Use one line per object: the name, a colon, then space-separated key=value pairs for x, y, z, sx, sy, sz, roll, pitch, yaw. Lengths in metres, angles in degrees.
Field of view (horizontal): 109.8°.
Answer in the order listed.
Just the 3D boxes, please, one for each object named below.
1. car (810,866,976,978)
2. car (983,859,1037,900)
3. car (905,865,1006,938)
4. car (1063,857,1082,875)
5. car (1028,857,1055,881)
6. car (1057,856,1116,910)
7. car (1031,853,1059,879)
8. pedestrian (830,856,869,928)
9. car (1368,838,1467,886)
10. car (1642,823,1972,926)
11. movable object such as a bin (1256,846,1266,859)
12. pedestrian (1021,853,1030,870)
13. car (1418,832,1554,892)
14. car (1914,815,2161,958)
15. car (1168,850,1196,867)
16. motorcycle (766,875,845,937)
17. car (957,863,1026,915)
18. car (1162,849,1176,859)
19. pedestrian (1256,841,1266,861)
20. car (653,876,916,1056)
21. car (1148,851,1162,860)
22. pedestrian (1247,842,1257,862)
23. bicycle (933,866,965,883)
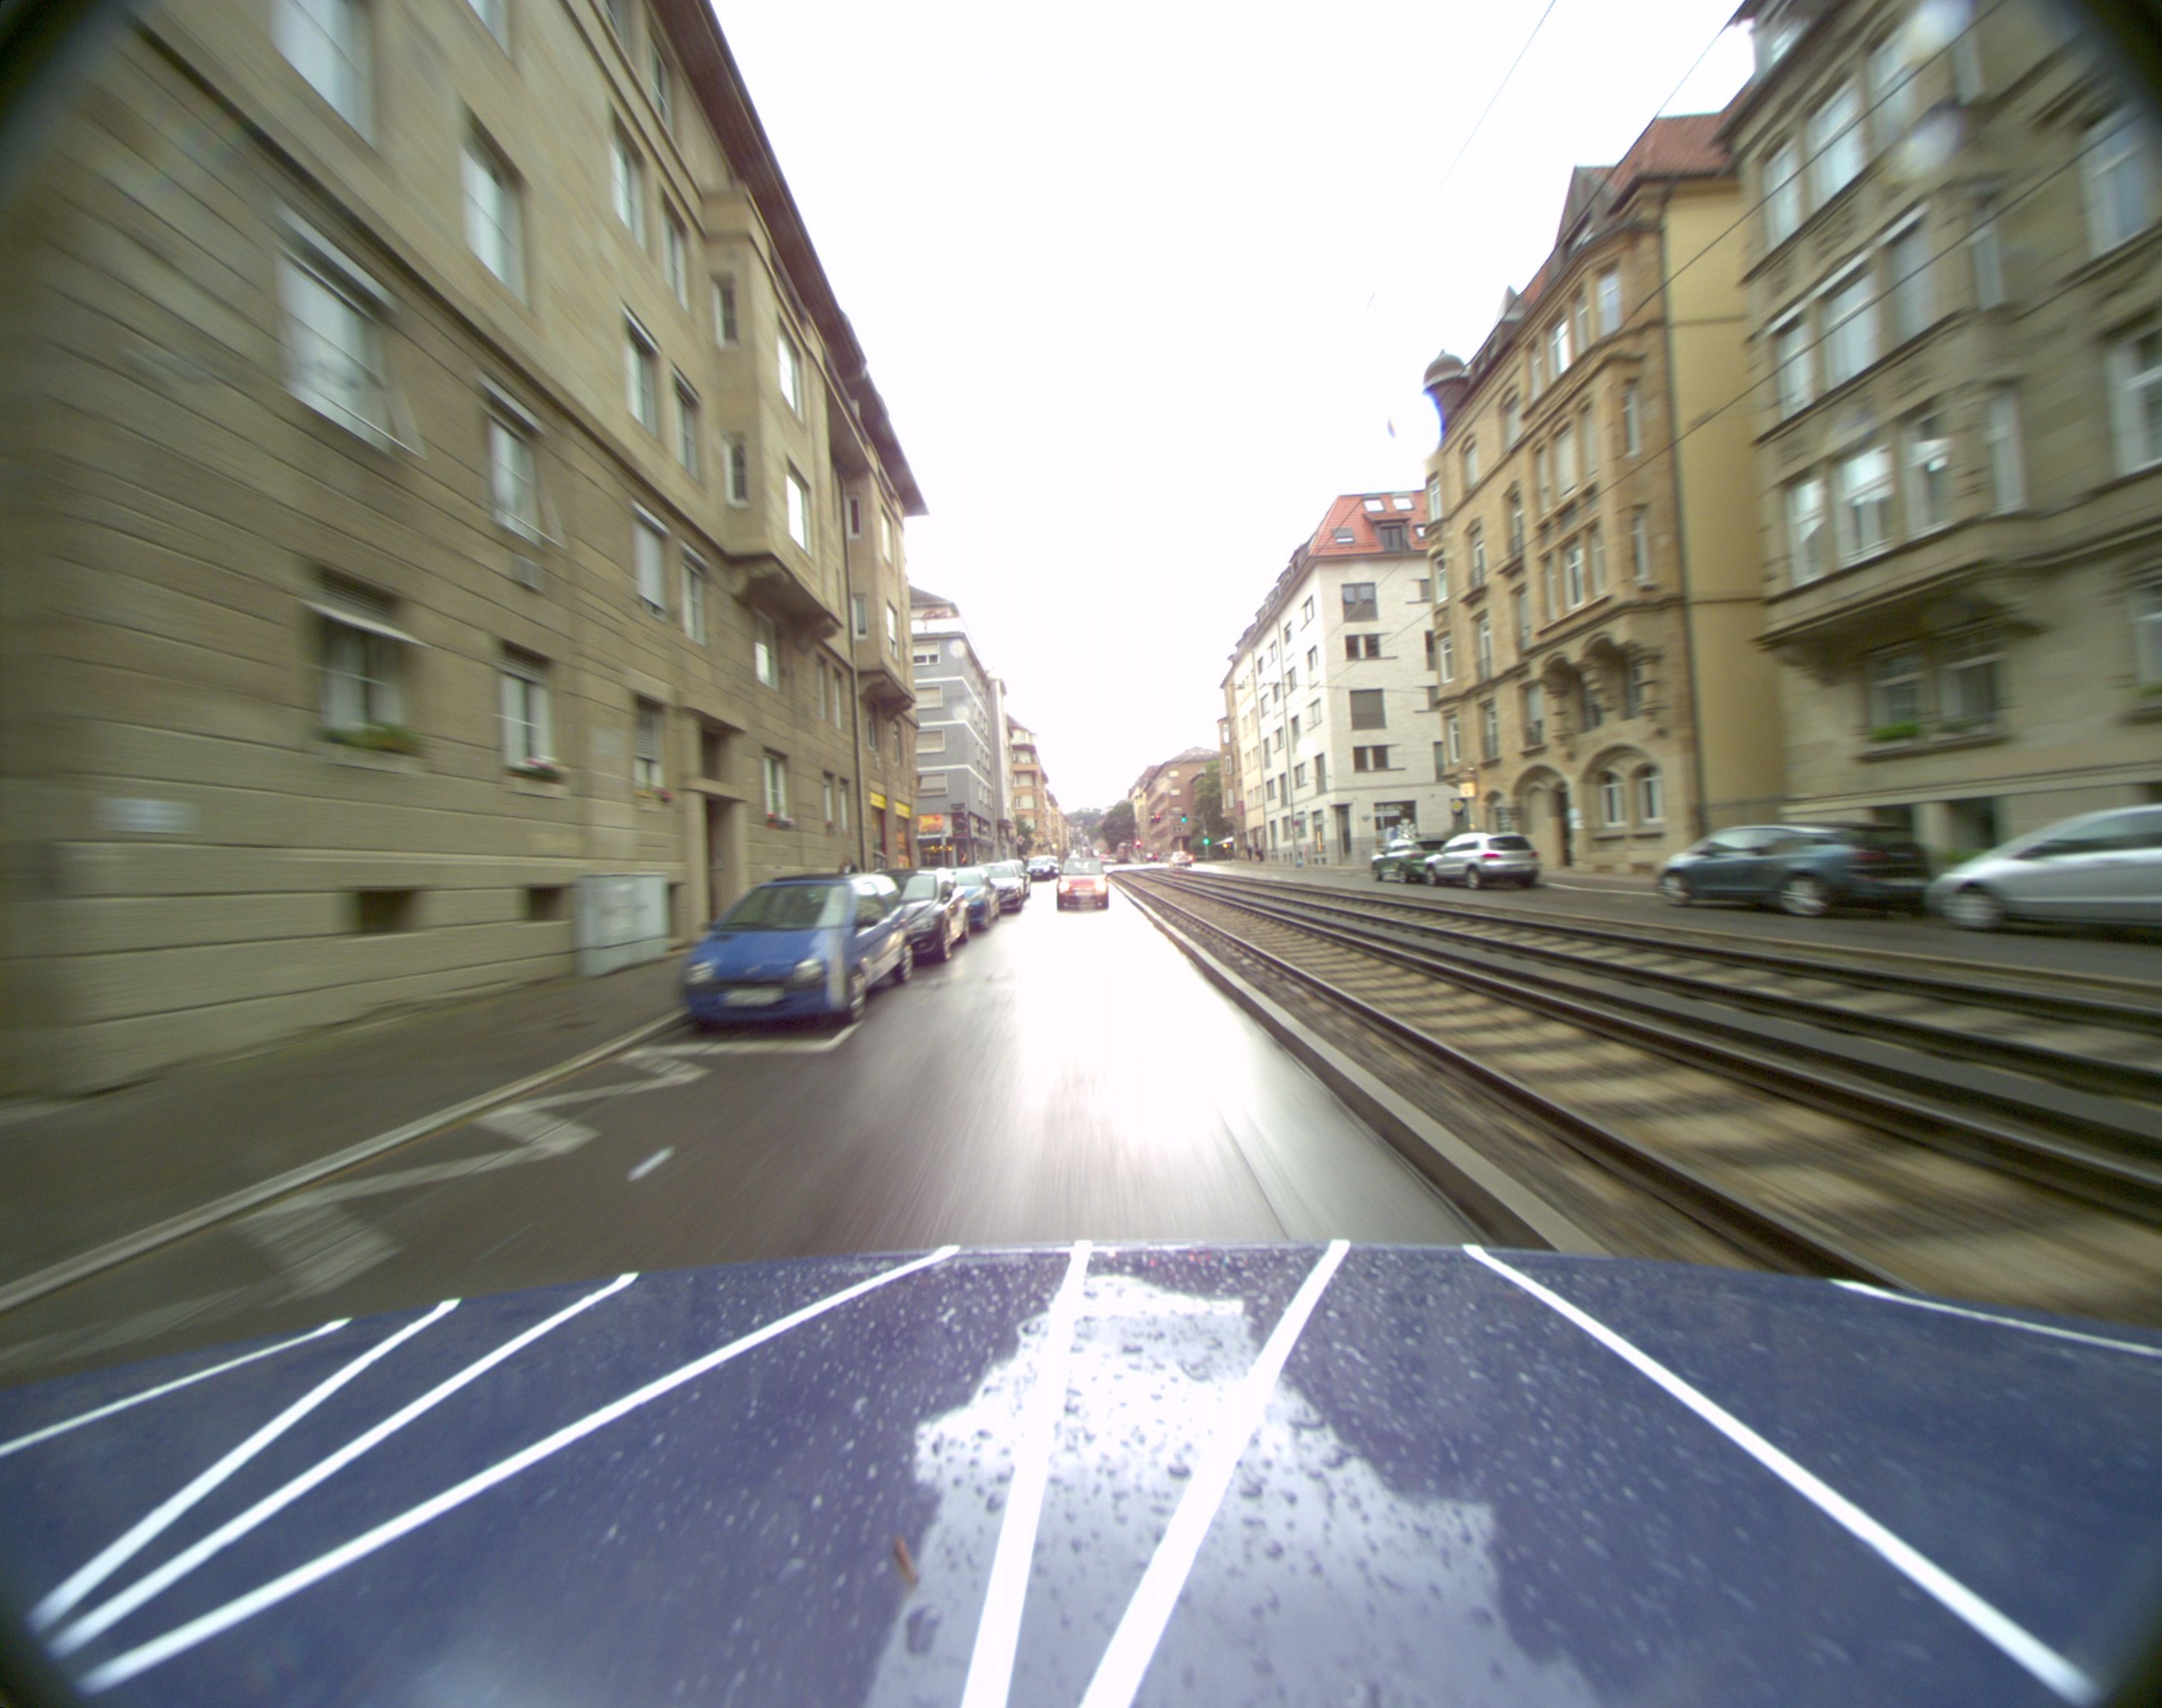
car: x=-2.948 y=0.995 z=12.836 sx=1.792 sy=1.454 sz=4.083 roll=-2 pitch=0 yaw=-1
car: x=-2.685 y=0.934 z=29.433 sx=1.675 sy=1.435 sz=3.790 roll=-1 pitch=0 yaw=1
car: x=-2.824 y=1.031 z=17.863 sx=1.711 sy=1.390 sz=4.018 roll=-2 pitch=0 yaw=-1
car: x=-0.955 y=1.379 z=90.332 sx=2.135 sy=2.002 sz=4.328 roll=-2 pitch=0 yaw=0
car: x=-2.640 y=0.977 z=50.292 sx=1.696 sy=1.474 sz=3.928 roll=-1 pitch=0 yaw=-4
car: x=0.161 y=0.846 z=24.342 sx=1.683 sy=1.531 sz=4.018 roll=-2 pitch=0 yaw=0
car: x=-2.577 y=0.857 z=55.561 sx=1.797 sy=1.750 sz=4.565 roll=-2 pitch=0 yaw=-1
pedestrian: x=-5.033 y=0.808 z=16.574 sx=0.562 sy=1.526 sz=0.710 roll=-2 pitch=1 yaw=0
car: x=12.475 y=0.264 z=28.487 sx=1.863 sy=1.592 sz=4.430 roll=-2 pitch=0 yaw=2
car: x=12.477 y=0.301 z=13.527 sx=1.875 sy=1.499 sz=4.169 roll=-2 pitch=0 yaw=0
movable object such as a bin: x=16.011 y=-0.130 z=67.758 sx=0.631 sy=1.074 sz=0.563 roll=-7 pitch=1 yaw=0
pedestrian: x=-6.008 y=0.785 z=82.317 sx=0.852 sy=1.807 sz=0.847 roll=-1 pitch=1 yaw=0
car: x=12.477 y=0.233 z=23.763 sx=1.863 sy=1.643 sz=4.314 roll=-2 pitch=0 yaw=-1
car: x=12.315 y=0.326 z=8.548 sx=1.699 sy=1.515 sz=3.855 roll=-1 pitch=0 yaw=1
car: x=9.569 y=0.395 z=72.015 sx=1.987 sy=1.448 sz=4.294 roll=-2 pitch=0 yaw=-1
motorcycle: x=-6.180 y=1.116 z=17.244 sx=0.707 sy=1.192 sz=2.746 roll=-2 pitch=0 yaw=0
car: x=-2.631 y=0.992 z=23.196 sx=1.759 sy=1.379 sz=4.484 roll=-1 pitch=0 yaw=-3
car: x=12.593 y=0.006 z=108.512 sx=1.708 sy=1.379 sz=3.781 roll=-2 pitch=0 yaw=2
pedestrian: x=15.527 y=-0.269 z=65.705 sx=0.603 sy=1.708 sz=0.658 roll=-5 pitch=1 yaw=3
car: x=-2.972 y=1.033 z=8.394 sx=1.548 sy=1.406 sz=3.445 roll=-2 pitch=0 yaw=-1
car: x=12.752 y=0.286 z=131.870 sx=2.093 sy=1.449 sz=4.860 roll=-1 pitch=0 yaw=2
pedestrian: x=14.768 y=-0.185 z=65.734 sx=0.603 sy=1.708 sz=0.746 roll=-5 pitch=1 yaw=3
bicycle: x=-7.886 y=1.224 z=45.305 sx=1.753 sy=0.967 sz=0.533 roll=-3 pitch=1 yaw=1
